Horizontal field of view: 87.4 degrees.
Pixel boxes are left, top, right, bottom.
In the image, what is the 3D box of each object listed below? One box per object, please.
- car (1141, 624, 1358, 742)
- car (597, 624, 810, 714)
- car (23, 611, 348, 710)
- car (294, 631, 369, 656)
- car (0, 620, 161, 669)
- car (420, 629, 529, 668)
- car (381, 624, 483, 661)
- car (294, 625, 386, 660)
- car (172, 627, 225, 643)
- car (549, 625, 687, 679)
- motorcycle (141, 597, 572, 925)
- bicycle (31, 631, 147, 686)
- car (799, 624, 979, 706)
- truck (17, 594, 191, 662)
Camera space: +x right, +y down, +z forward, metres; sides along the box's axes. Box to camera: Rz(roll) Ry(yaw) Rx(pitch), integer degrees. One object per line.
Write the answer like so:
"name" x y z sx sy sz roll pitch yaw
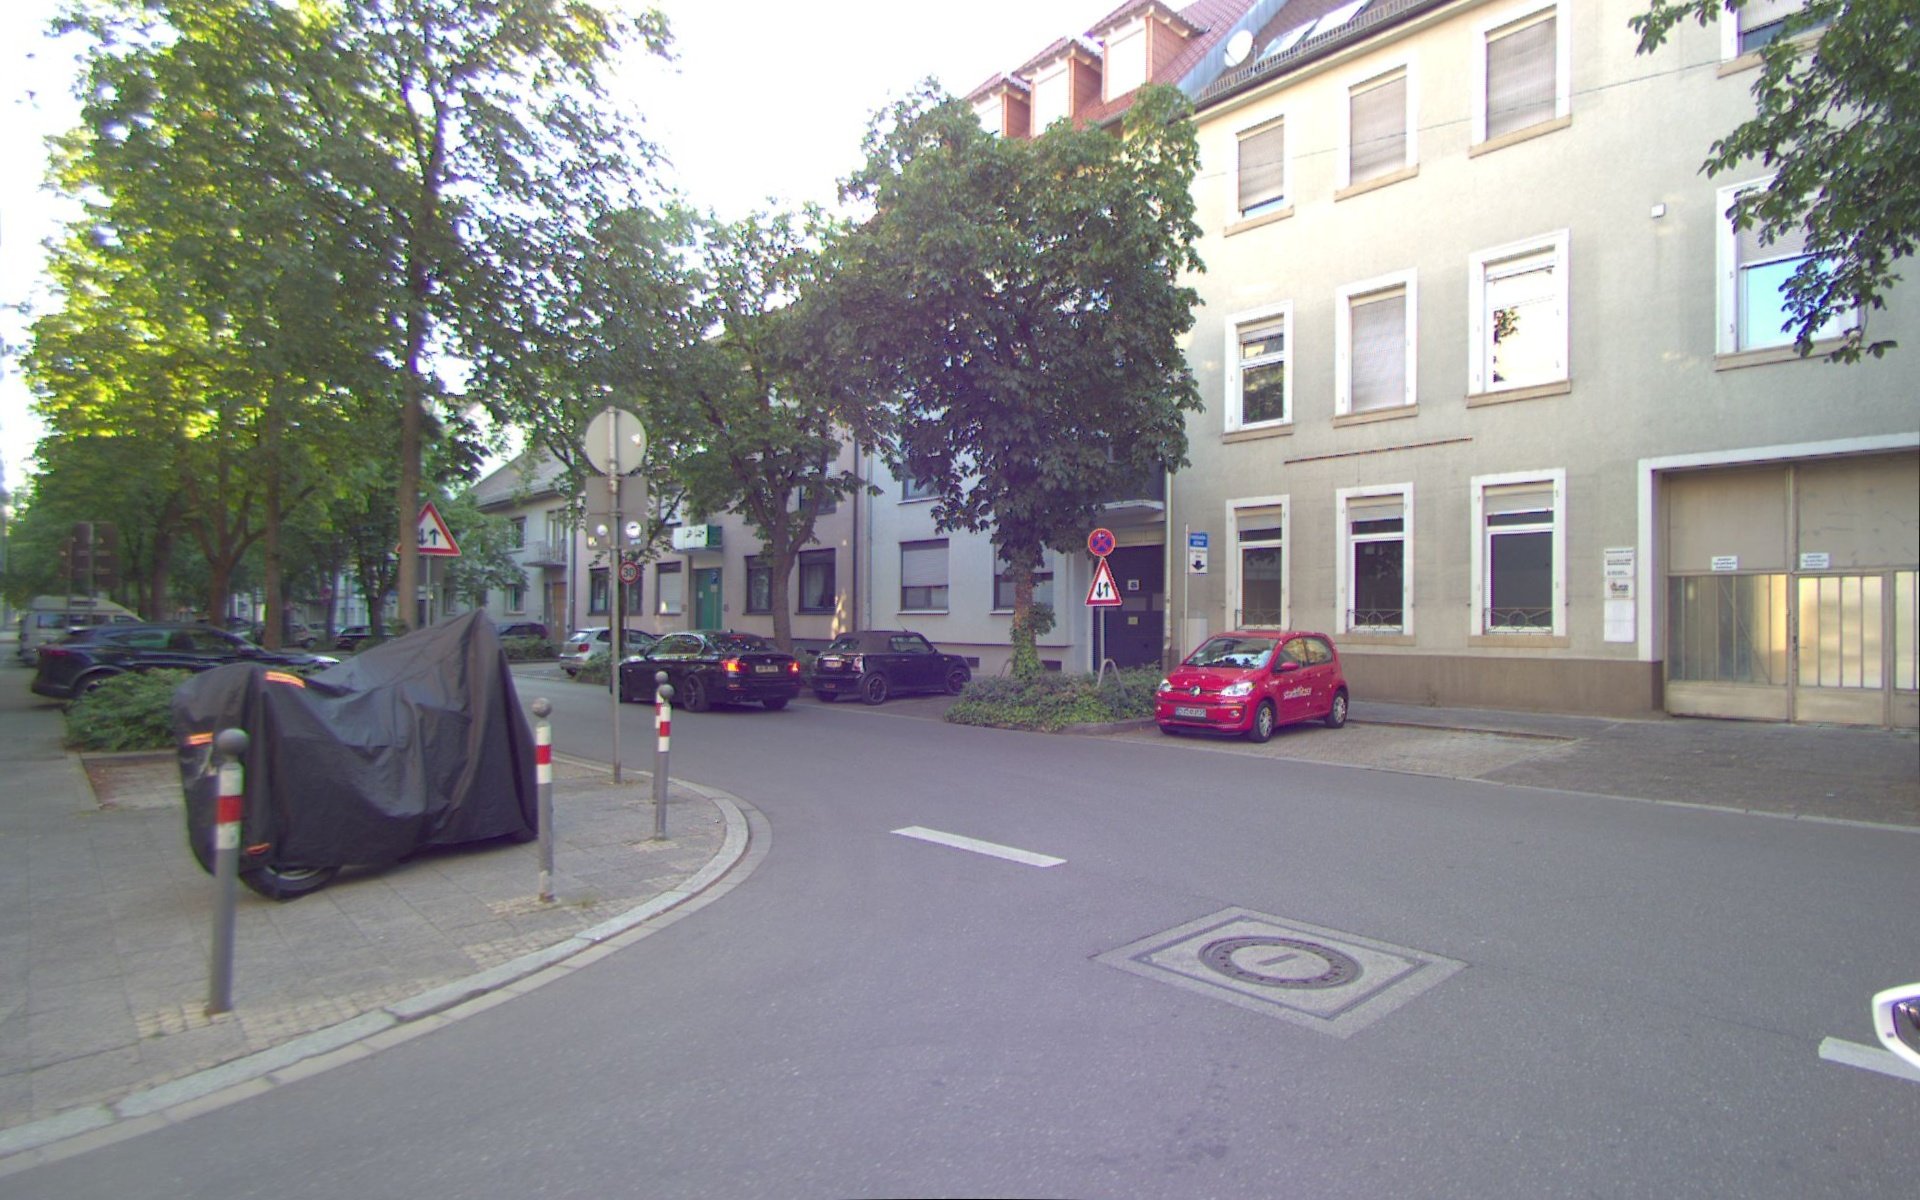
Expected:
"car" 4.355 1.113 14.839 1.545 1.495 3.644 -1 -1 45
"car" -4.921 1.202 18.872 4.604 1.469 1.757 -1 -2 44
"car" -13.512 1.044 17.707 4.341 1.529 1.811 3 -3 -44
"car" -38.272 2.625 61.202 1.545 1.411 3.645 -1 -1 45
"car" -28.531 1.444 32.448 4.117 1.491 1.619 3 -3 -44
"car" -19.282 1.895 39.981 1.545 1.411 3.645 -1 -1 45
"car" -23.637 1.866 45.066 1.545 1.550 3.780 -1 -1 45
"car" -30.979 2.095 50.266 1.545 1.557 3.645 -1 0 45
"car" -68.963 3.130 90.976 1.545 1.411 3.645 -1 -1 45
"car" -10.205 1.511 30.161 1.545 1.498 3.645 -1 -1 45
"motorcycle" -3.399 0.800 5.951 0.657 1.576 2.160 0 -1 26
"bicycle" -20.290 1.344 23.443 0.494 1.215 1.969 -1 -2 36
"car" -1.418 1.287 21.139 1.604 1.447 3.694 -1 1 42
"truck" -33.100 1.121 38.992 4.979 2.473 1.892 3 -2 -42
